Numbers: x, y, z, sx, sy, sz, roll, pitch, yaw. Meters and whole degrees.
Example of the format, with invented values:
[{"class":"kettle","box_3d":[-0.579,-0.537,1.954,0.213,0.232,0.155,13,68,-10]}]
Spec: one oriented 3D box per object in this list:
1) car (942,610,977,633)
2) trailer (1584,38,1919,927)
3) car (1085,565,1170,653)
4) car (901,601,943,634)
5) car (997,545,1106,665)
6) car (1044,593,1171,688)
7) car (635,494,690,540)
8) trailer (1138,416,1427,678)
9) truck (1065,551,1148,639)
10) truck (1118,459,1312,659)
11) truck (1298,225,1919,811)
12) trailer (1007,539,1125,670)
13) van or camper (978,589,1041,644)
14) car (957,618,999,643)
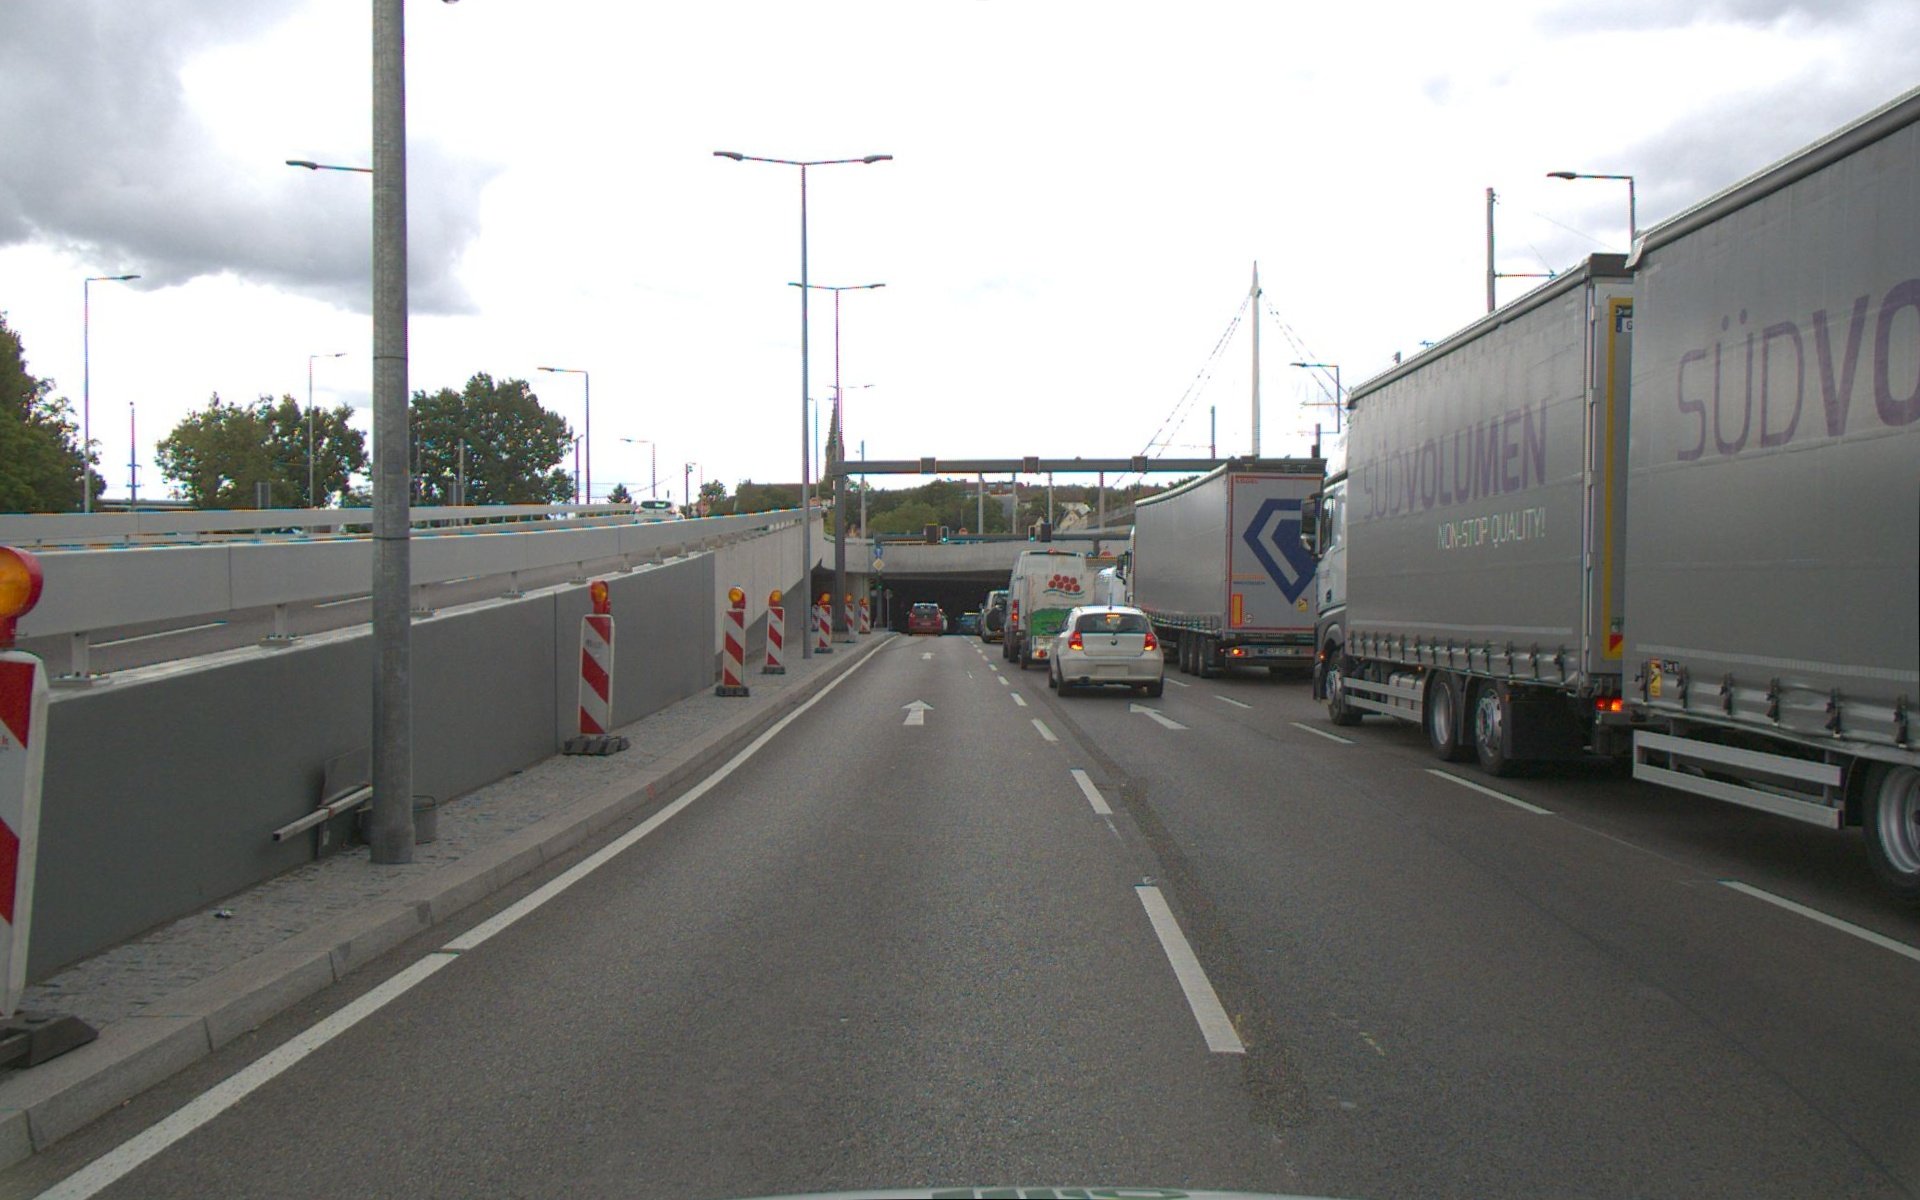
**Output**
[{"class":"car","box_3d":[-0.054,1.409,109.886,1.955,1.411,3.995,0,0,-6]},{"class":"trailer","box_3d":[6.348,-0.536,6.572,3.648,4.214,10.984,1,0,1]},{"class":"car","box_3d":[5.639,0.274,56.577,2.033,2.822,7.324,0,0,-1]},{"class":"car","box_3d":[-1.843,0.853,79.586,1.629,1.514,3.561,0,-2,-7]},{"class":"car","box_3d":[2.193,0.142,41.498,2.017,2.674,5.939,3,-1,-2]},{"class":"car","box_3d":[2.418,0.649,27.964,1.681,1.422,4.346,2,0,0]},{"class":"car","box_3d":[-11.575,-3.223,64.498,1.710,1.457,3.771,4,-1,-5]},{"class":"trailer","box_3d":[6.561,-0.972,36.328,3.728,4.712,12.111,1,0,-1]},{"class":"truck","box_3d":[5.696,-0.151,65.177,2.595,3.241,7.425,0,-1,0]},{"class":"truck","box_3d":[6.459,-0.977,43.302,3.728,4.712,7.440,1,0,-1]},{"class":"truck","box_3d":[6.494,-0.583,17.531,3.648,4.214,10.984,1,0,1]},{"class":"trailer","box_3d":[2.345,0.118,37.852,2.061,2.685,4.807,3,-1,-2]},{"class":"van or camper","box_3d":[1.775,0.593,60.851,1.953,1.877,5.506,1,0,-2]},{"class":"car","box_3d":[0.913,1.580,85.693,1.633,1.269,3.559,0,-2,-9]}]
